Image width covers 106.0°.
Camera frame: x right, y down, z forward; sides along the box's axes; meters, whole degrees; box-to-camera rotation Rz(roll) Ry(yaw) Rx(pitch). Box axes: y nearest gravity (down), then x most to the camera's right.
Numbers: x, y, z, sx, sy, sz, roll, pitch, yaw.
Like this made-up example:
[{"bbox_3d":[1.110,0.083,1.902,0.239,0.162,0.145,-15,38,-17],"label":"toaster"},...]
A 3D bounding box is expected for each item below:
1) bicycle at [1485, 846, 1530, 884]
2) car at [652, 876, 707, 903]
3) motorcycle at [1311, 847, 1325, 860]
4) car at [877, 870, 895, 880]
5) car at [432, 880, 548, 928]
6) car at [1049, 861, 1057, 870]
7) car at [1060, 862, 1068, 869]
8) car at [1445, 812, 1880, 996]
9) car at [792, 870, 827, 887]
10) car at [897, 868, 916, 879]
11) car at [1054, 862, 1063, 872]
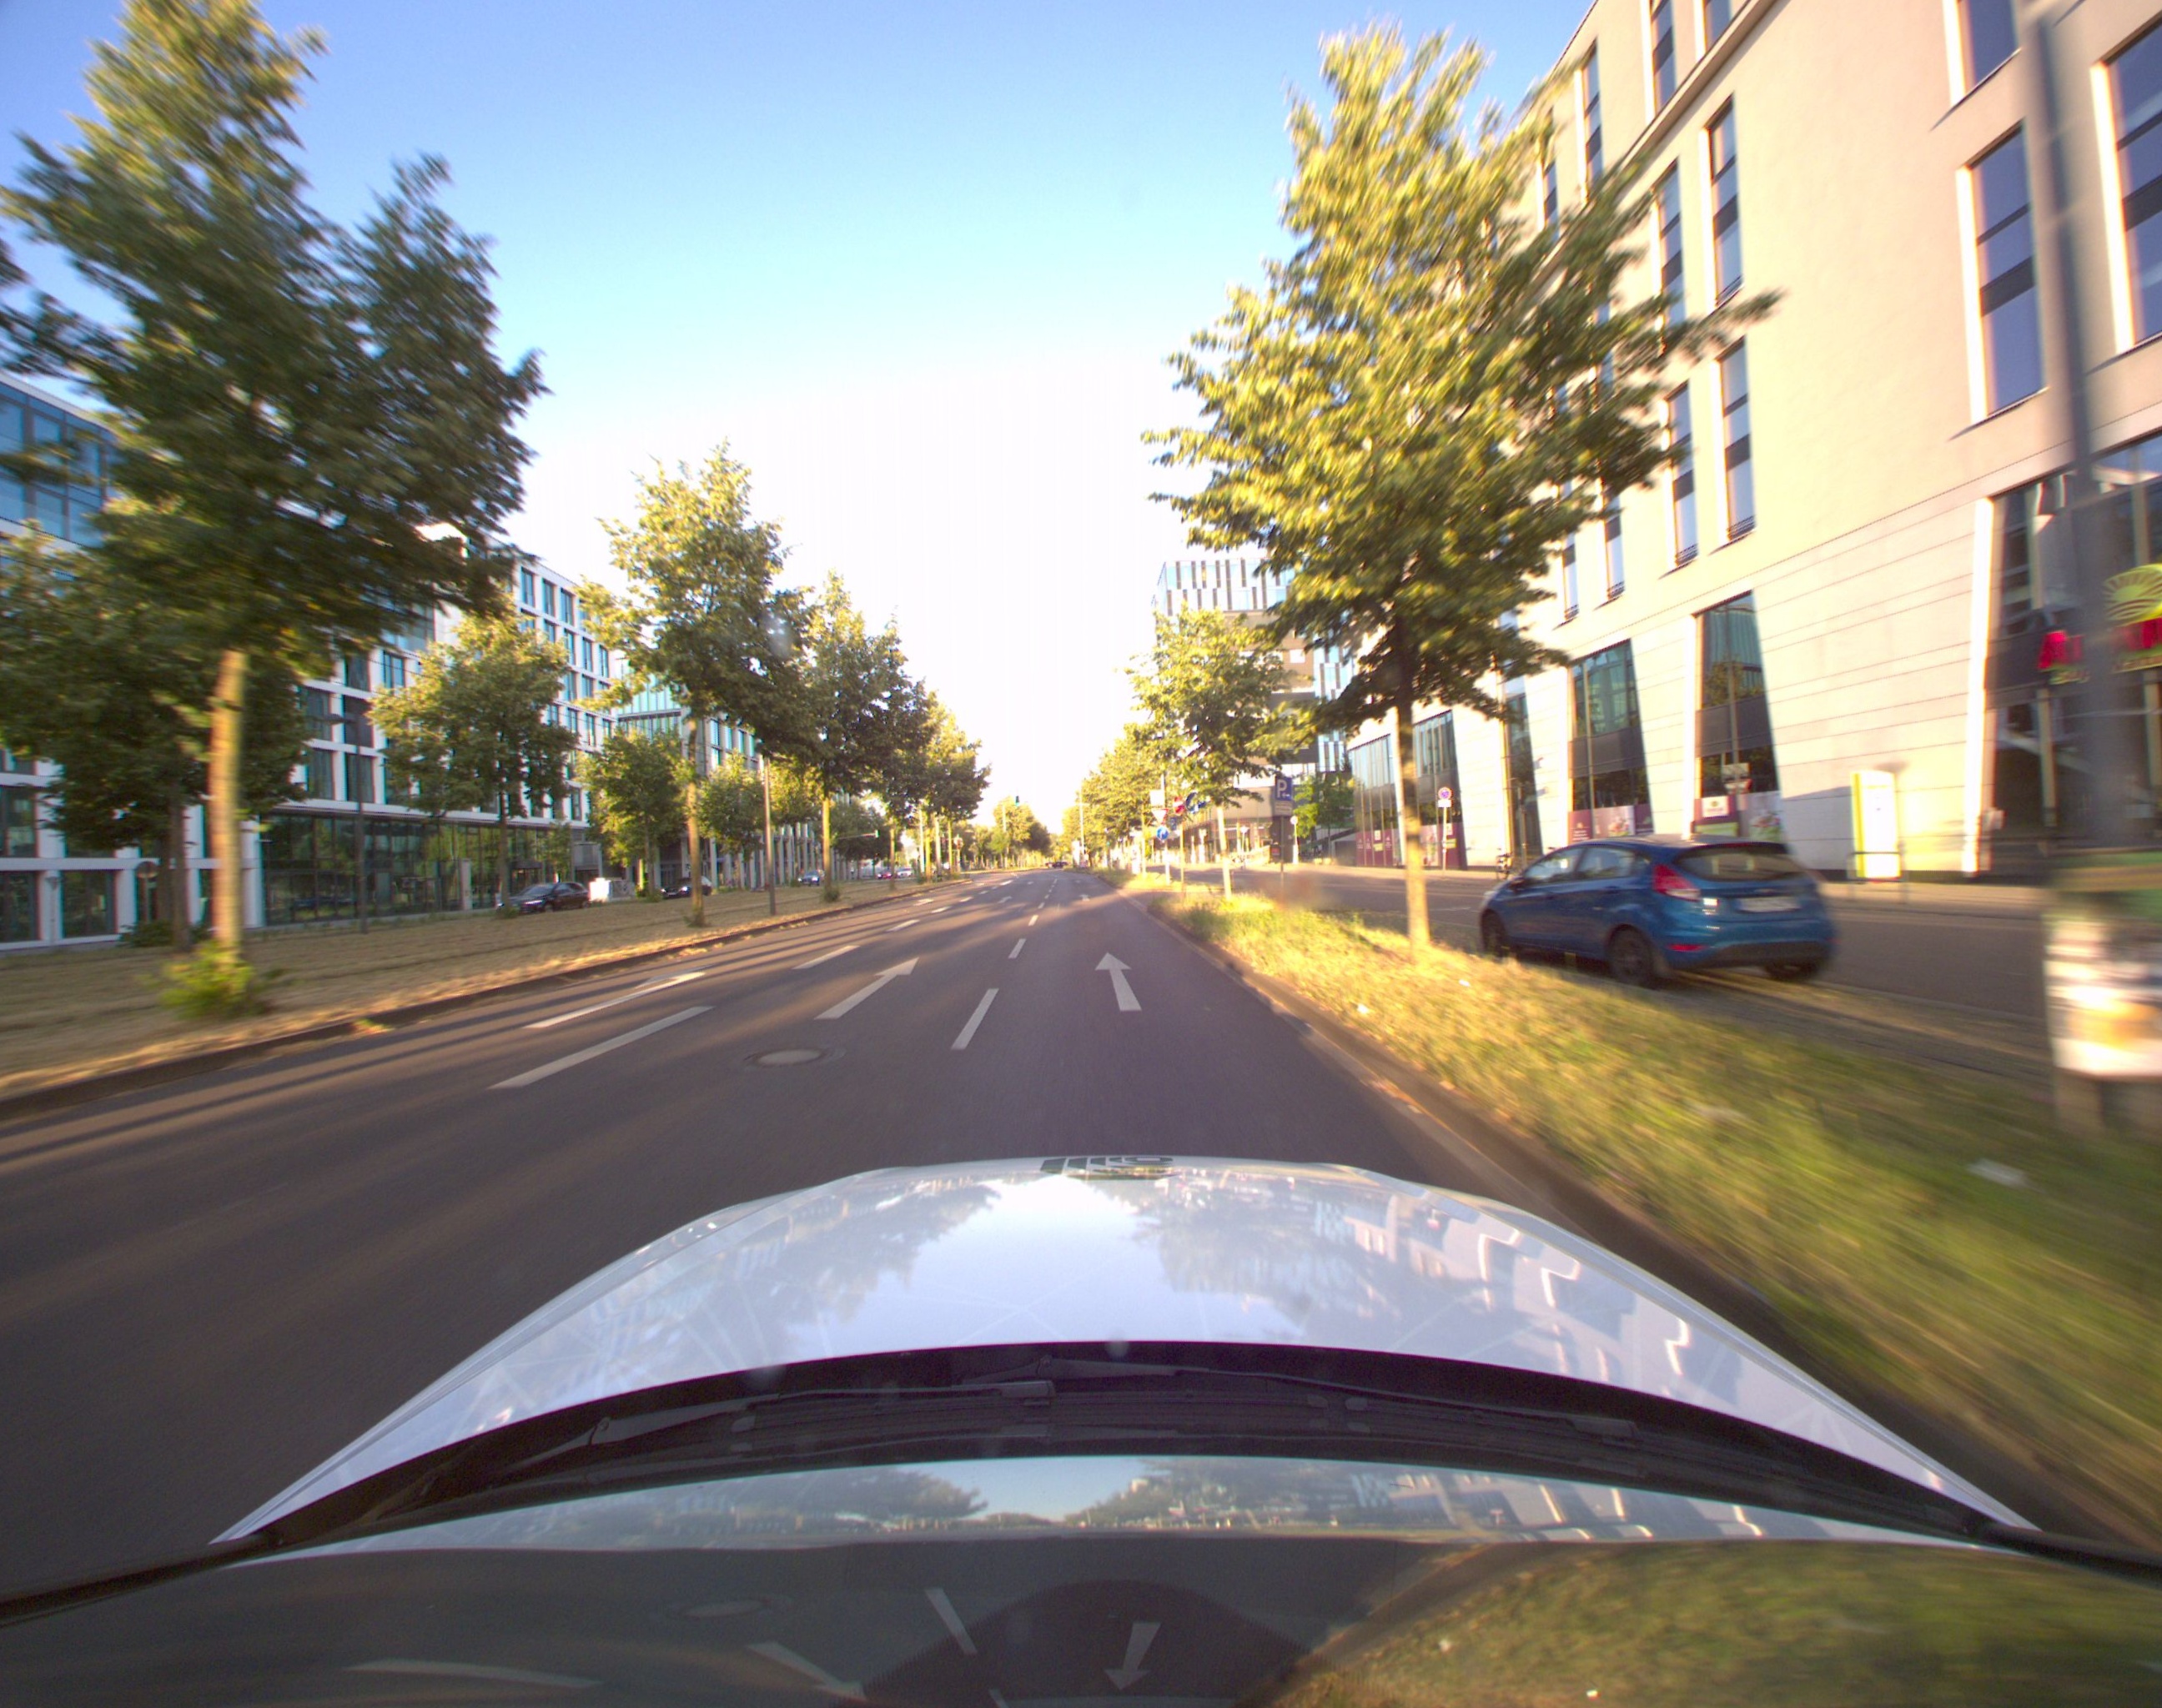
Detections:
[{"bbox_3d":[12.878,0.316,24.649,0.444,1.072,1.775,-5,-1,3],"label":"bicycle"},{"bbox_3d":[-26.324,2.308,53.543,1.653,1.502,4.185,-3,0,-3],"label":"car"},{"bbox_3d":[21.489,-0.050,73.893,0.647,1.094,2.335,-3,0,5],"label":"motorcycle"},{"bbox_3d":[-27.126,2.922,113.364,1.653,1.332,4.523,-3,0,-3],"label":"car"},{"bbox_3d":[-22.660,1.881,31.399,1.798,1.547,3.724,-2,0,-2],"label":"car"},{"bbox_3d":[-7.069,2.829,205.495,2.082,2.013,3.997,-3,0,-2],"label":"car"},{"bbox_3d":[-4.169,2.923,203.484,1.866,1.574,3.676,-3,0,0],"label":"car"},{"bbox_3d":[5.926,0.438,9.085,1.719,1.529,4.266,-1,0,-1],"label":"car"},{"bbox_3d":[-23.982,2.108,72.077,1.653,1.332,4.580,-3,0,-3],"label":"car"},{"bbox_3d":[-23.661,2.570,110.414,1.782,1.332,3.668,-3,0,-3],"label":"car"},{"bbox_3d":[-4.981,2.921,181.217,1.988,2.013,3.997,-3,0,-2],"label":"car"}]
